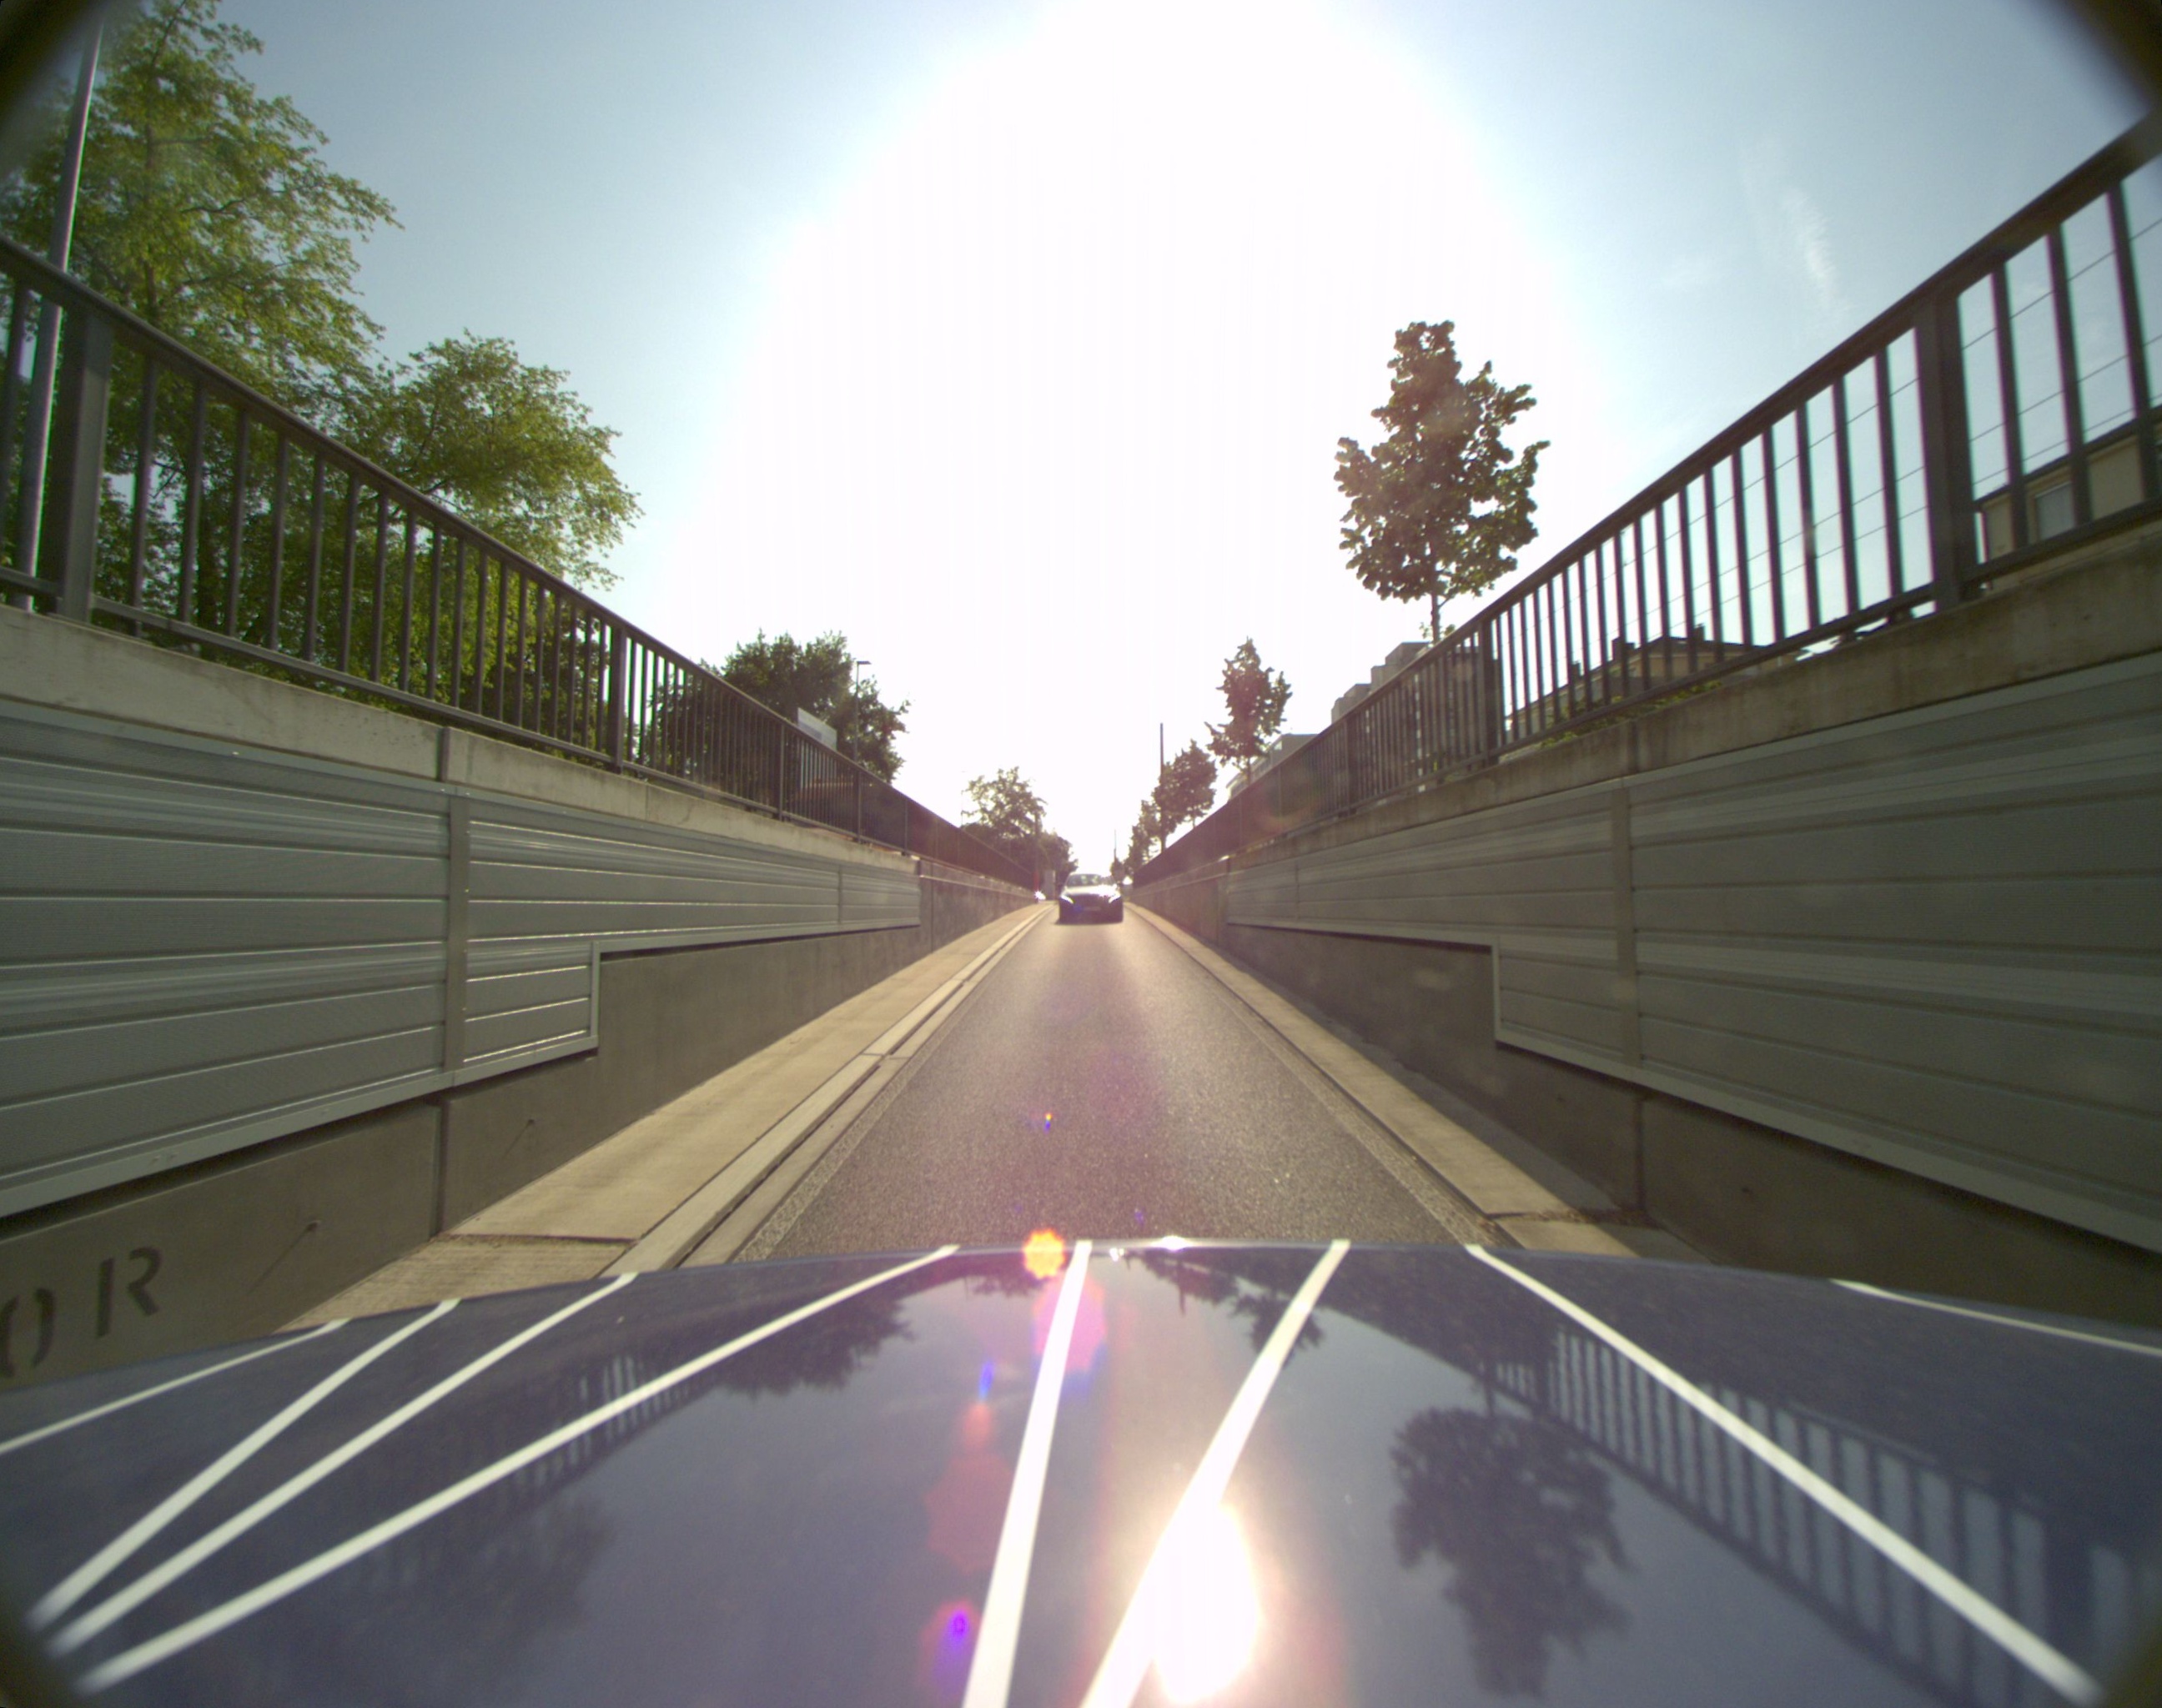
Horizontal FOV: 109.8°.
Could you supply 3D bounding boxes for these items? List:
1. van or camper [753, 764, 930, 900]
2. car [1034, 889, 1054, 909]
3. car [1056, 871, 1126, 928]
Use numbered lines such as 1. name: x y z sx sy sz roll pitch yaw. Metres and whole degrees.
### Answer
1. van or camper: -5.052 -0.235 17.150 1.991 2.456 6.065 -2 -3 0
2. car: -4.116 5.033 84.956 1.999 2.000 4.002 -3 -3 -2
3. car: 0.344 1.318 21.780 1.759 1.436 4.621 -1 -4 2
